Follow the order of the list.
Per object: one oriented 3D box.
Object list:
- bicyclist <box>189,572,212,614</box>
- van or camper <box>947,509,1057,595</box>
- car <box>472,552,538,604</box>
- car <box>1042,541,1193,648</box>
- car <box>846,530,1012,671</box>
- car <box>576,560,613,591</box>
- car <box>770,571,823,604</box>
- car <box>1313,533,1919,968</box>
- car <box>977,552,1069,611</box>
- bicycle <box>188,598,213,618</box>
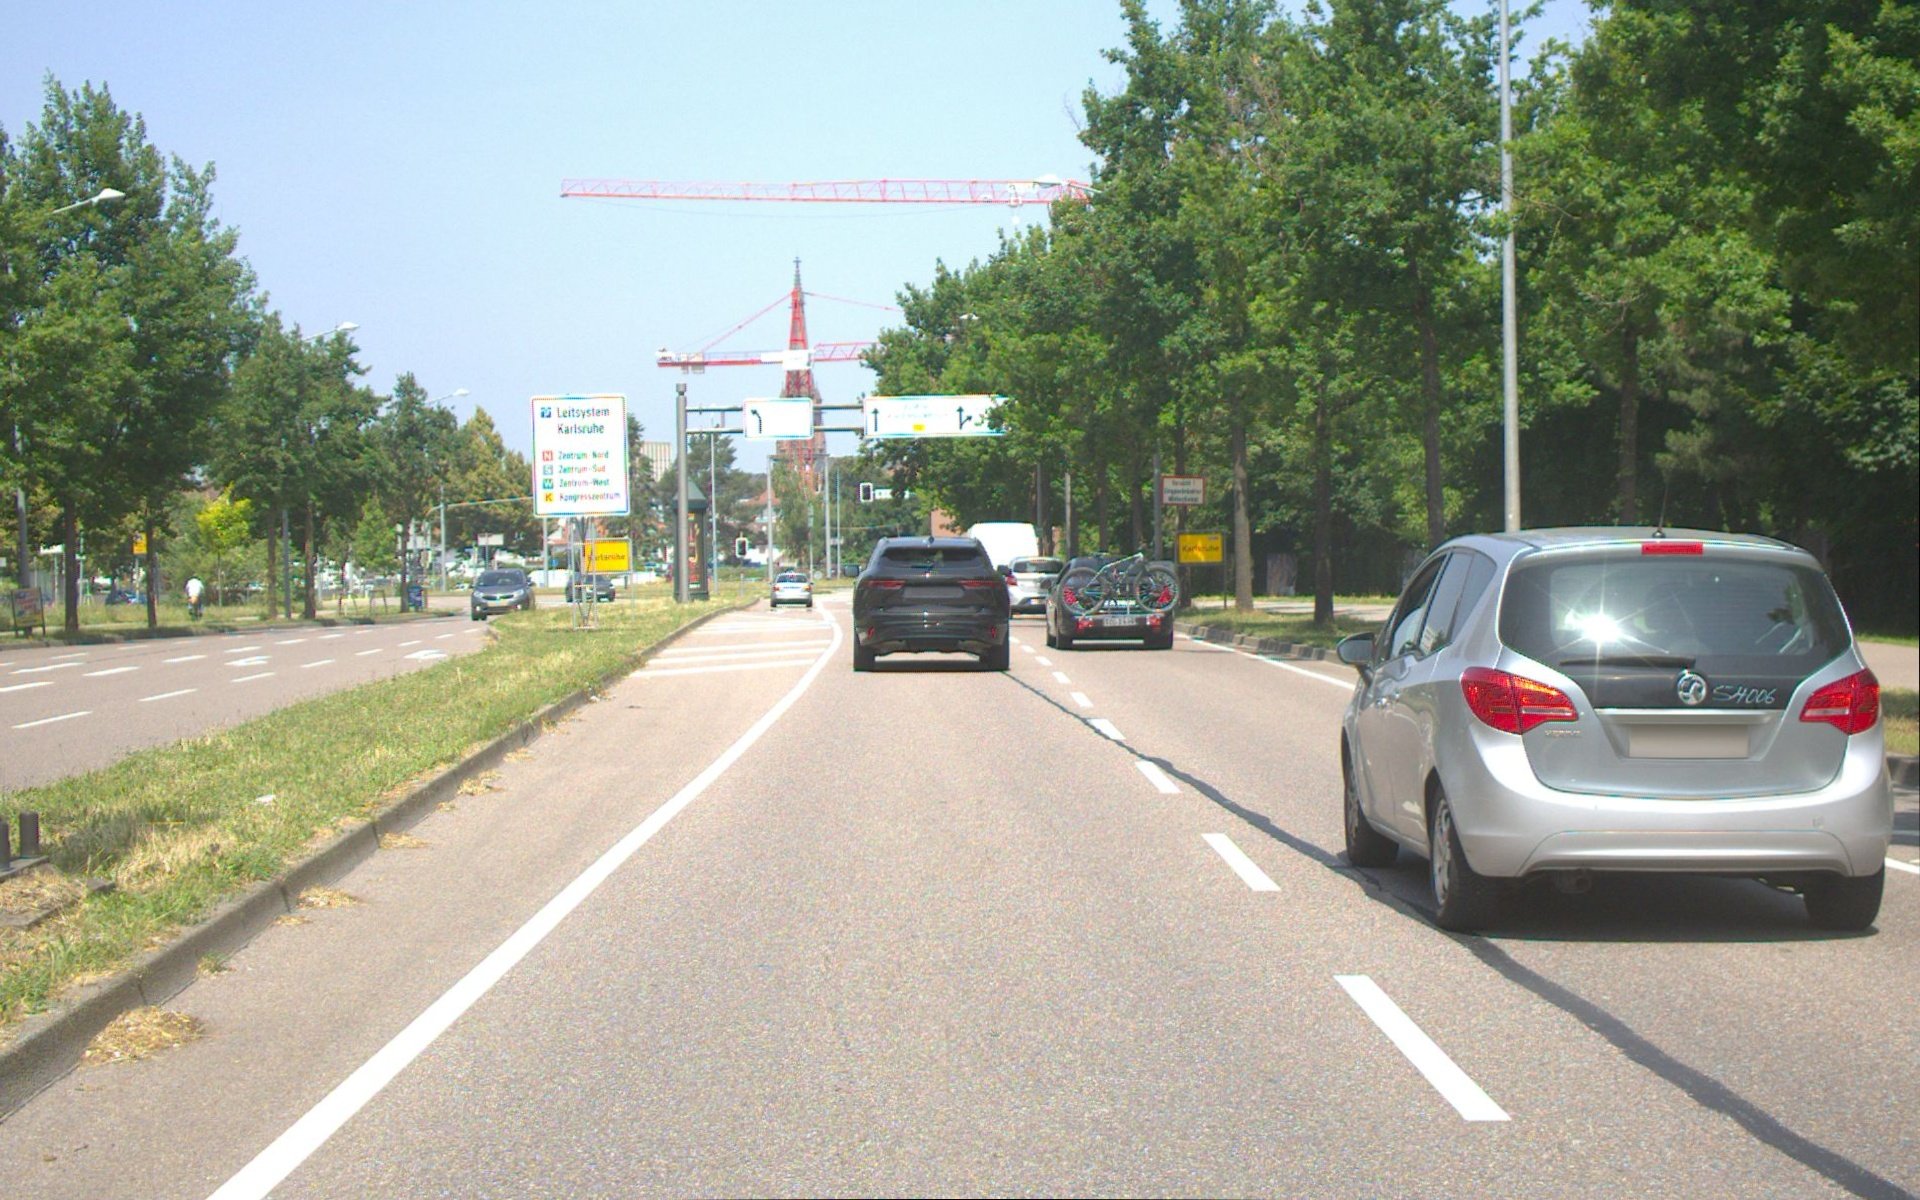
[{"bbox_3d":[-27.403,-0.261,124.071,0.623,1.484,0.757,-1,0,1],"label":"bicyclist"},{"bbox_3d":[1.132,-1.323,95.987,2.493,2.283,4.922,-1,0,-5],"label":"van or camper"},{"bbox_3d":[-13.667,-0.681,103.408,1.707,1.467,3.942,-2,1,-4],"label":"car"},{"bbox_3d":[2.350,-0.096,52.213,2.014,1.512,4.461,-1,0,-1],"label":"car"},{"bbox_3d":[-0.410,-0.023,43.240,1.998,1.684,4.034,0,1,-1],"label":"car"},{"bbox_3d":[-19.972,-1.354,187.808,1.892,1.605,4.535,-1,1,-5],"label":"car"},{"bbox_3d":[-6.966,-0.556,146.305,1.993,1.316,4.001,-1,1,-7],"label":"car"},{"bbox_3d":[2.654,0.525,14.646,1.792,1.606,3.891,0,1,-2],"label":"car"},{"bbox_3d":[1.480,-0.459,82.903,1.654,1.351,4.461,-1,0,-6],"label":"car"},{"bbox_3d":[-27.388,0.293,123.977,0.481,0.713,1.850,-1,0,1],"label":"bicycle"}]
